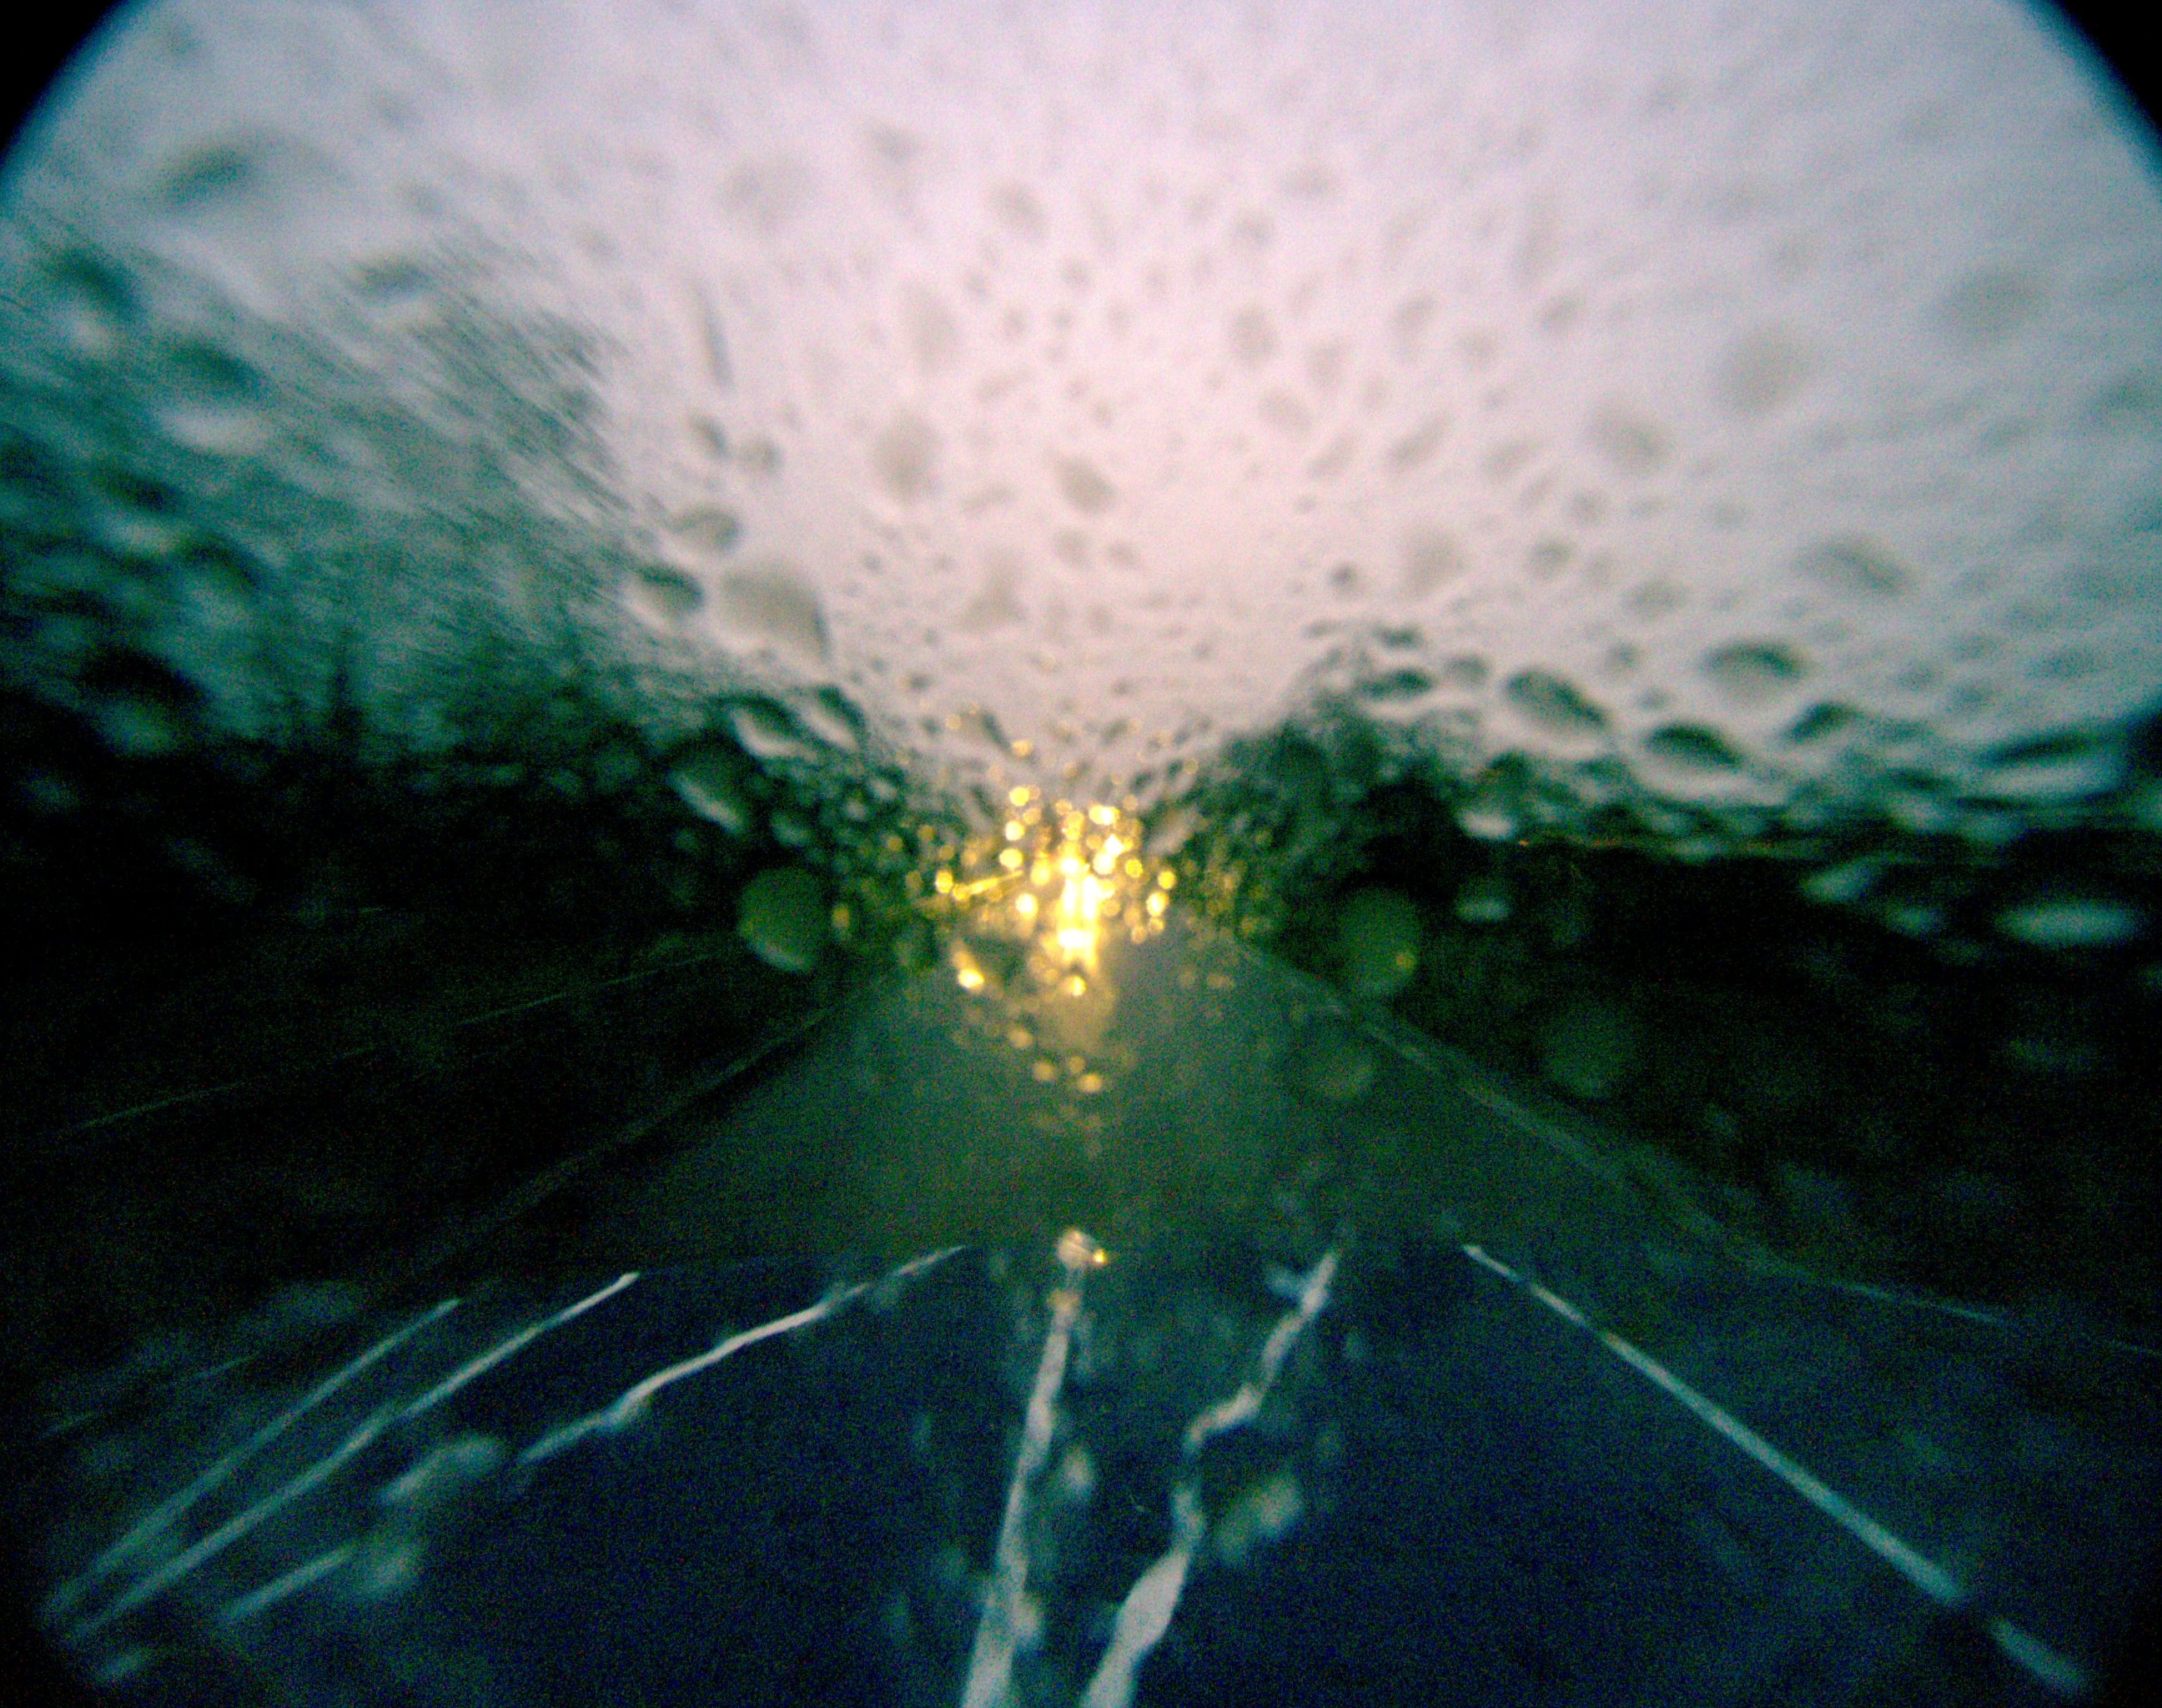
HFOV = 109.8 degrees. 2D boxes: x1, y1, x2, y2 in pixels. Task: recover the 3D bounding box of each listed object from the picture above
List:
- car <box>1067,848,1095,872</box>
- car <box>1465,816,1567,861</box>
[{"bbox_3d":[0.046,0.384,53.641,1.841,1.553,3.867,-2,1,1],"label":"car"},{"bbox_3d":[18.359,-0.587,32.322,1.780,1.525,4.705,-7,-2,5],"label":"car"}]
